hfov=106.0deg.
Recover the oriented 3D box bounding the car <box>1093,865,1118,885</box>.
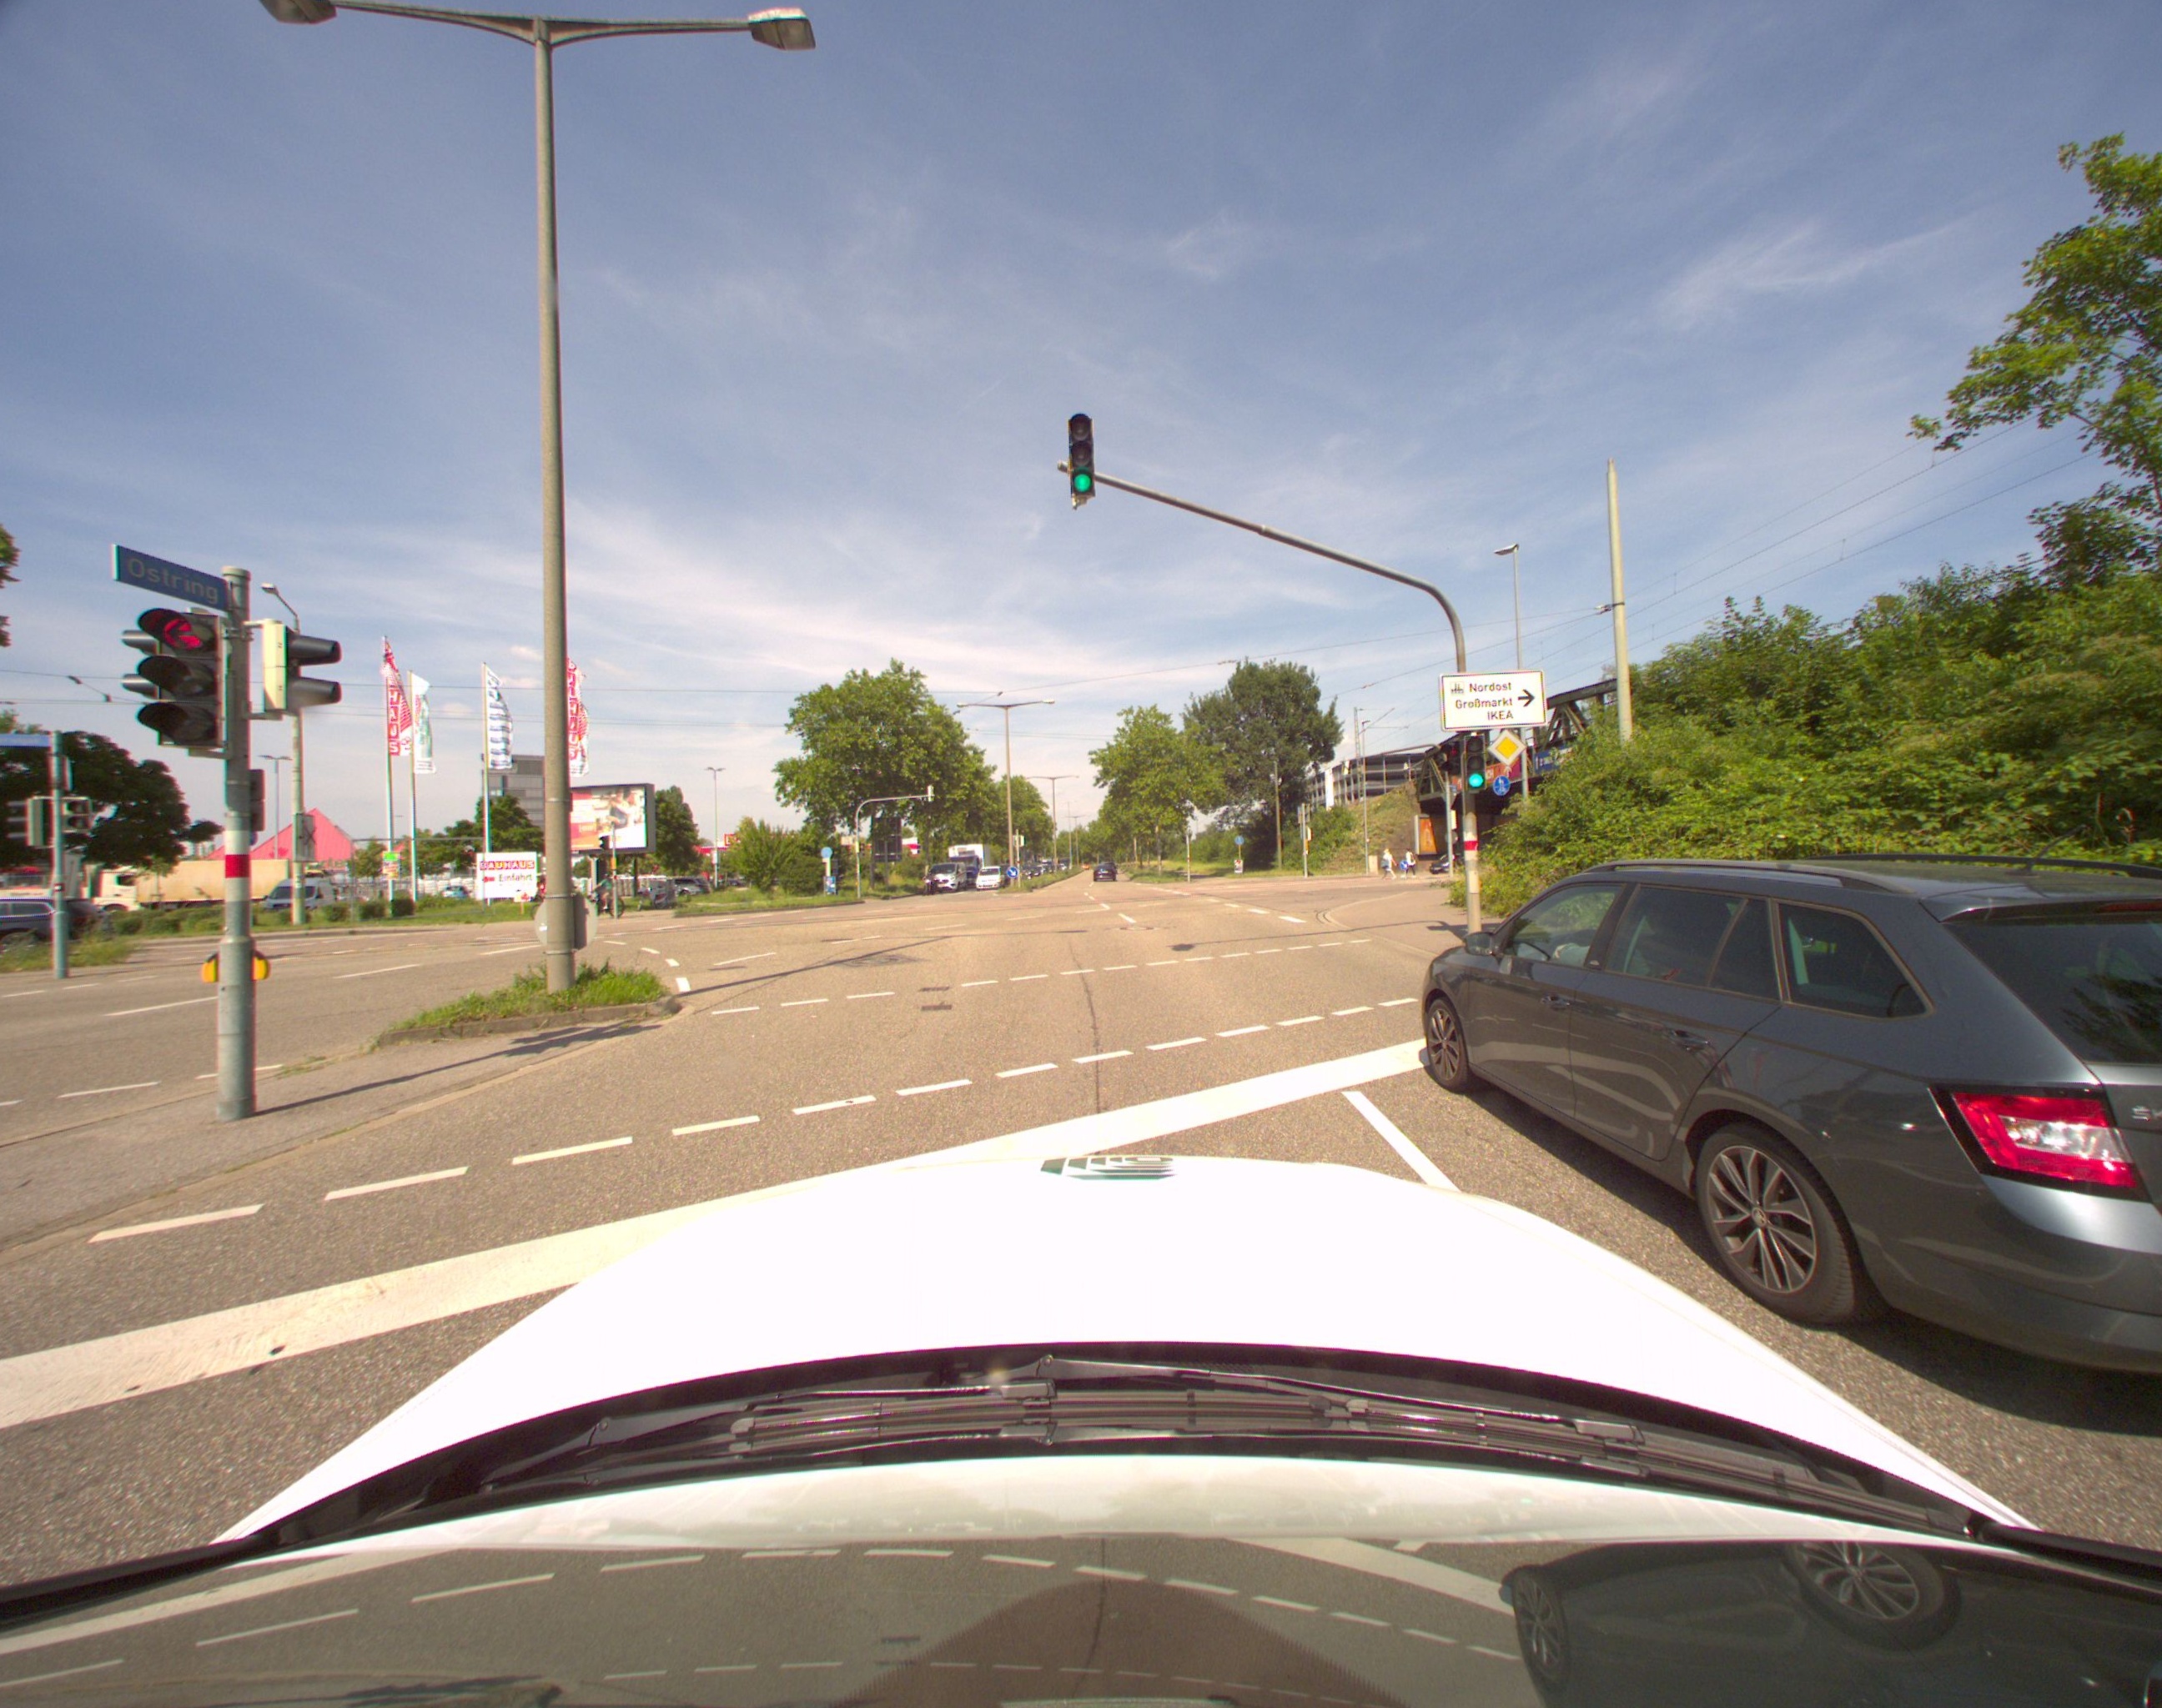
[{"bbox_3d":[1.983,1.661,66.448,1.901,1.463,4.621,-2,0,1],"label":"car"}]

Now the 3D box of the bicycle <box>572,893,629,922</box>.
[{"bbox_3d":[-17.854,1.986,30.323,0.412,0.937,2.007,-2,-1,18],"label":"bicycle"}]

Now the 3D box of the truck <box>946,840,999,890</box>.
[{"bbox_3d":[-8.402,0.818,63.930,2.793,3.471,6.693,-4,0,2],"label":"truck"}]

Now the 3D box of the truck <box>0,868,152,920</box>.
[{"bbox_3d":[-65.270,2.518,50.467,9.655,2.892,2.895,-2,-1,-35],"label":"truck"}]

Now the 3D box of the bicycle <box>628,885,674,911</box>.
[{"bbox_3d":[-18.777,1.918,35.584,0.590,1.037,1.903,-2,-1,16],"label":"bicycle"}]

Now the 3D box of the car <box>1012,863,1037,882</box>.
[{"bbox_3d":[-4.946,1.610,72.210,1.682,1.586,4.242,-3,0,2],"label":"car"}]

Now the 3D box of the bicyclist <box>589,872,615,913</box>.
[{"bbox_3d":[-17.854,1.434,30.377,0.523,1.491,0.612,-2,-1,17],"label":"bicyclist"}]

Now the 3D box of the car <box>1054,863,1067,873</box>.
[{"bbox_3d":[-3.149,2.099,125.458,1.777,1.459,4.473,-3,0,2],"label":"car"}]

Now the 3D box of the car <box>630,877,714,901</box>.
[{"bbox_3d":[-27.767,2.346,55.466,4.556,1.414,2.196,-2,-1,-6],"label":"car"}]

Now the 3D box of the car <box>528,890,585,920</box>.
[{"bbox_3d":[-31.677,3.024,49.114,2.212,1.572,4.522,-1,-1,-41],"label":"car"}]

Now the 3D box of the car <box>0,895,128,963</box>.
[{"bbox_3d":[-25.834,1.825,19.092,4.242,1.443,1.769,-2,-1,-38],"label":"car"}]

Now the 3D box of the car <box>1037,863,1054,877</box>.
[{"bbox_3d":[-4.222,1.908,97.837,1.778,1.489,4.211,-3,0,1],"label":"car"}]

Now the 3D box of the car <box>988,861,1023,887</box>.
[{"bbox_3d":[-5.403,1.438,58.704,1.813,1.646,4.695,-3,-2,2],"label":"car"}]

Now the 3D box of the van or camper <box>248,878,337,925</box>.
[{"bbox_3d":[-41.032,2.402,42.532,2.204,2.210,5.462,-1,-1,-32],"label":"van or camper"}]

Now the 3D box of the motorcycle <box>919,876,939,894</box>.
[{"bbox_3d":[-9.025,1.846,48.504,0.685,0.991,2.218,-2,0,2],"label":"motorcycle"}]

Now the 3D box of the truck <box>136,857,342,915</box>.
[{"bbox_3d":[-55.060,2.009,53.712,8.964,3.311,3.125,-2,-1,-36],"label":"truck"}]

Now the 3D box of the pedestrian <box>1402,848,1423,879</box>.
[{"bbox_3d":[17.073,0.478,42.003,0.726,1.579,0.778,-2,-1,1],"label":"pedestrian"}]

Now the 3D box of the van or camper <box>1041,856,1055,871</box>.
[{"bbox_3d":[-5.950,1.633,146.724,2.007,2.587,5.519,-3,0,2],"label":"van or camper"}]

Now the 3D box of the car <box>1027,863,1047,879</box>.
[{"bbox_3d":[-4.557,1.781,85.142,1.682,1.472,3.816,-3,0,2],"label":"car"}]

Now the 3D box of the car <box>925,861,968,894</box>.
[{"bbox_3d":[-8.764,1.490,53.641,1.970,1.999,5.030,-2,0,-1],"label":"car"}]

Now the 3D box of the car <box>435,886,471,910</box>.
[{"bbox_3d":[-45.834,3.208,59.498,1.829,1.572,4.234,-1,-1,-34],"label":"car"}]

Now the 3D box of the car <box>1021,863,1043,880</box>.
[{"bbox_3d":[-4.761,1.700,79.507,1.682,1.473,4.220,-4,0,2],"label":"car"}]

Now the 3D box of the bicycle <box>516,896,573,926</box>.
[{"bbox_3d":[-19.178,2.018,29.148,0.430,0.937,1.761,-2,-1,24],"label":"bicycle"}]

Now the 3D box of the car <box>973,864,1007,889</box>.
[{"bbox_3d":[-5.846,1.430,52.853,1.587,1.477,3.731,-3,0,2],"label":"car"}]

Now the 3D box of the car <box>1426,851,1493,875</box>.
[{"bbox_3d":[25.064,0.585,53.935,4.520,1.409,1.978,-2,-1,-35],"label":"car"}]

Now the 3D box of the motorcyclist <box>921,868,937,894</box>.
[{"bbox_3d":[-9.062,1.603,48.602,0.740,1.470,0.988,-2,-1,1],"label":"motorcyclist"}]

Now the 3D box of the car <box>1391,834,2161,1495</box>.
[{"bbox_3d":[3.032,0.687,3.822,1.668,1.453,4.036,-1,0,1],"label":"car"}]

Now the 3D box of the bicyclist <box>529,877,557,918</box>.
[{"bbox_3d":[-19.247,1.558,29.140,0.523,1.414,0.613,-2,-1,24],"label":"bicyclist"}]

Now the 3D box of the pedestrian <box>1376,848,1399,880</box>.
[{"bbox_3d":[15.890,0.529,42.192,0.865,1.611,0.778,-2,-1,1],"label":"pedestrian"}]
